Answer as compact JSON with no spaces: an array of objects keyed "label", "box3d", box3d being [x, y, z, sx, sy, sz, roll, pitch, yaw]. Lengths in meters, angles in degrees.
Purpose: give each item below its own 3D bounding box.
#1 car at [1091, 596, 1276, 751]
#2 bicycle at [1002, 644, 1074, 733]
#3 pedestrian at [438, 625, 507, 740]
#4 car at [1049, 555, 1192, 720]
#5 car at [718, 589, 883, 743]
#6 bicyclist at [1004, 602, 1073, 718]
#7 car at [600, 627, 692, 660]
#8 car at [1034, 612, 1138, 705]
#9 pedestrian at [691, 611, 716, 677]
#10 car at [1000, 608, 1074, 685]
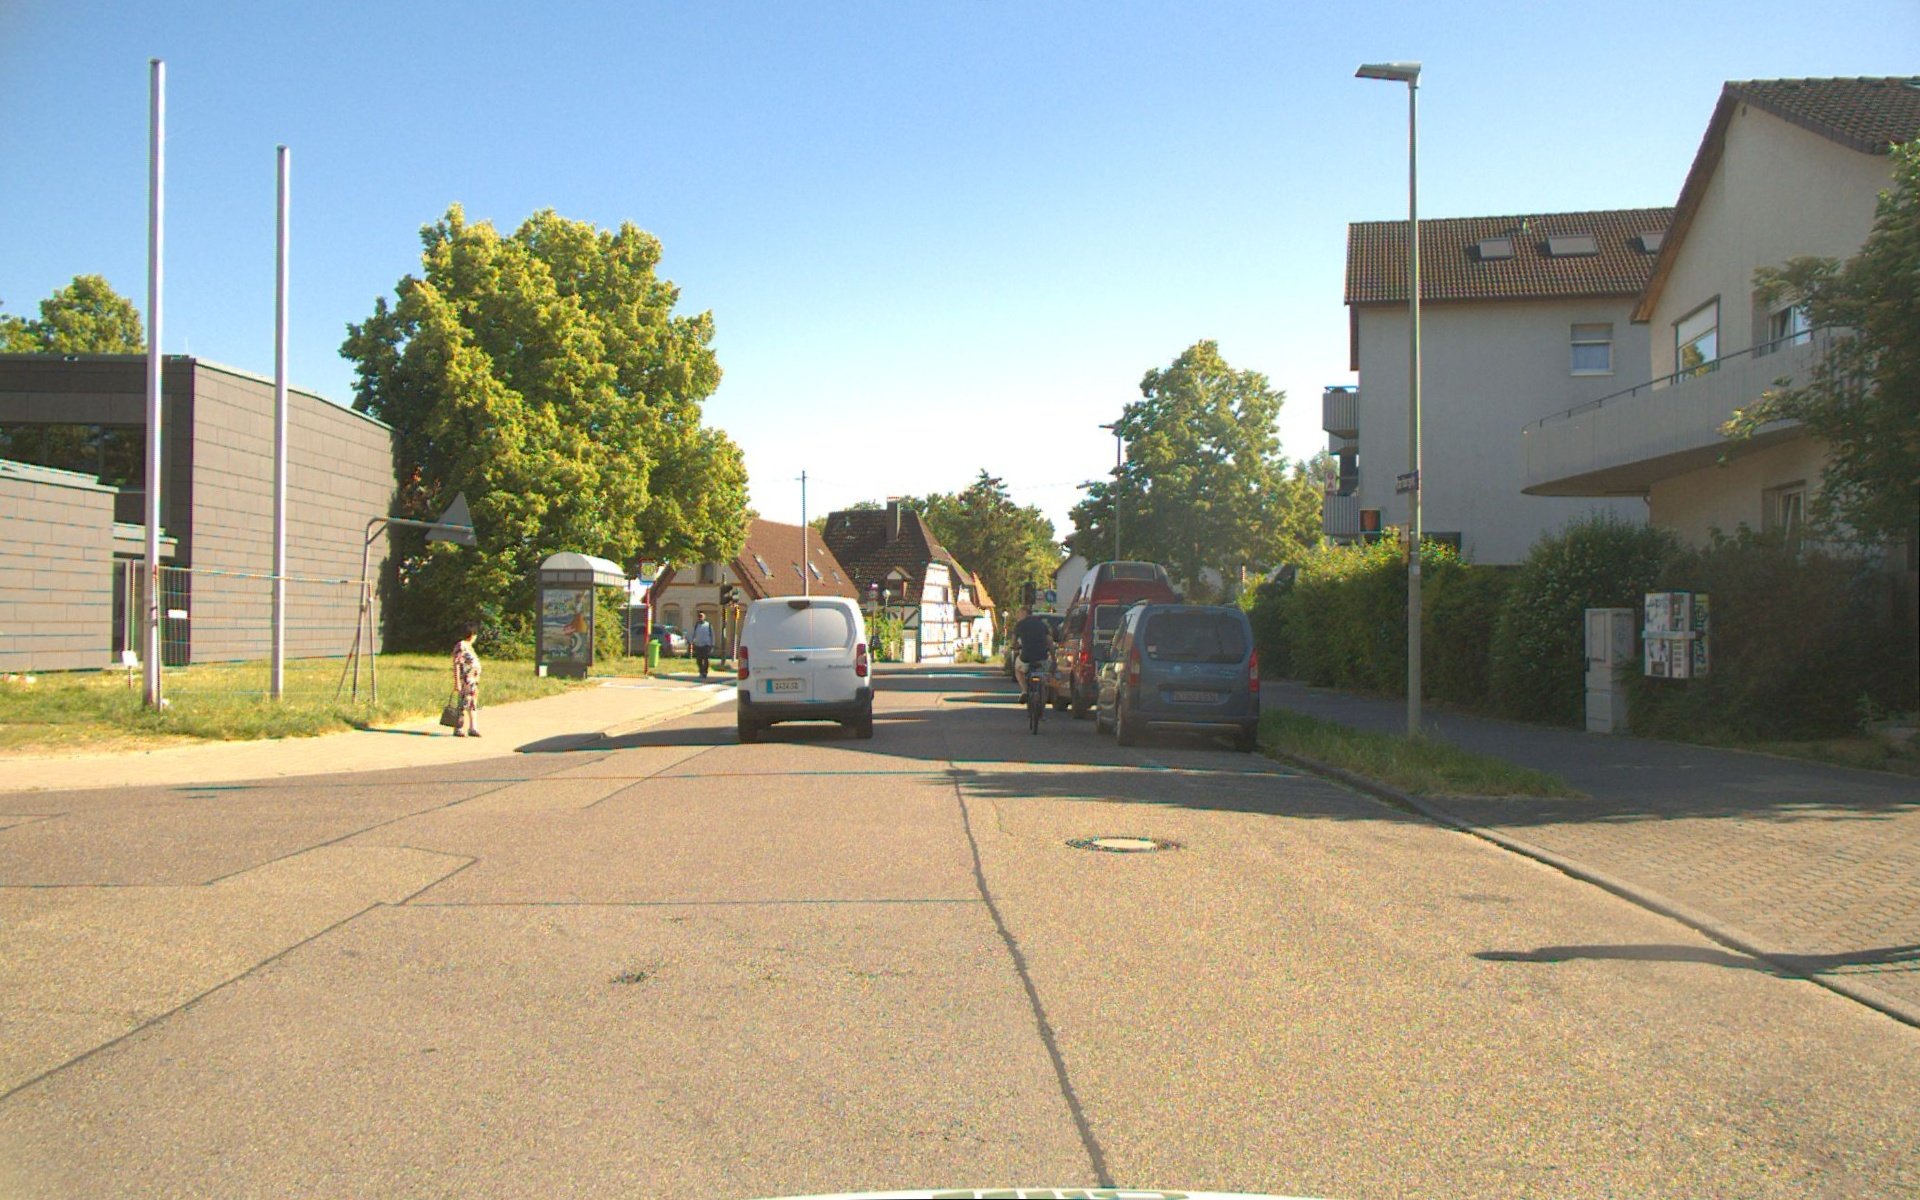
[{"label":"car","box3d":[2.892,0.943,22.206,1.768,1.817,3.998,2,-1,-2]},{"label":"bicycle","box3d":[1.098,1.236,23.665,0.771,1.158,2.278,1,-1,-4]},{"label":"pedestrian","box3d":[-6.489,1.090,22.030,0.500,1.471,0.637,3,-1,32]},{"label":"car","box3d":[2.735,0.662,29.148,1.829,2.607,4.765,2,-1,-2]},{"label":"car","box3d":[-2.101,0.851,22.935,1.953,1.915,4.287,1,-1,-2]},{"label":"bicyclist","box3d":[1.106,0.844,23.641,0.887,1.612,0.966,1,-1,-3]},{"label":"car","box3d":[-14.742,2.033,77.627,3.893,1.454,1.716,0,-1,17]},{"label":"car","box3d":[2.667,1.236,35.737,1.768,1.817,3.998,2,-1,-2]},{"label":"pedestrian","box3d":[-7.229,1.239,46.667,0.608,1.837,0.640,0,-2,-2]},{"label":"car","box3d":[2.215,1.352,48.517,1.768,2.105,3.998,2,-1,-2]}]
